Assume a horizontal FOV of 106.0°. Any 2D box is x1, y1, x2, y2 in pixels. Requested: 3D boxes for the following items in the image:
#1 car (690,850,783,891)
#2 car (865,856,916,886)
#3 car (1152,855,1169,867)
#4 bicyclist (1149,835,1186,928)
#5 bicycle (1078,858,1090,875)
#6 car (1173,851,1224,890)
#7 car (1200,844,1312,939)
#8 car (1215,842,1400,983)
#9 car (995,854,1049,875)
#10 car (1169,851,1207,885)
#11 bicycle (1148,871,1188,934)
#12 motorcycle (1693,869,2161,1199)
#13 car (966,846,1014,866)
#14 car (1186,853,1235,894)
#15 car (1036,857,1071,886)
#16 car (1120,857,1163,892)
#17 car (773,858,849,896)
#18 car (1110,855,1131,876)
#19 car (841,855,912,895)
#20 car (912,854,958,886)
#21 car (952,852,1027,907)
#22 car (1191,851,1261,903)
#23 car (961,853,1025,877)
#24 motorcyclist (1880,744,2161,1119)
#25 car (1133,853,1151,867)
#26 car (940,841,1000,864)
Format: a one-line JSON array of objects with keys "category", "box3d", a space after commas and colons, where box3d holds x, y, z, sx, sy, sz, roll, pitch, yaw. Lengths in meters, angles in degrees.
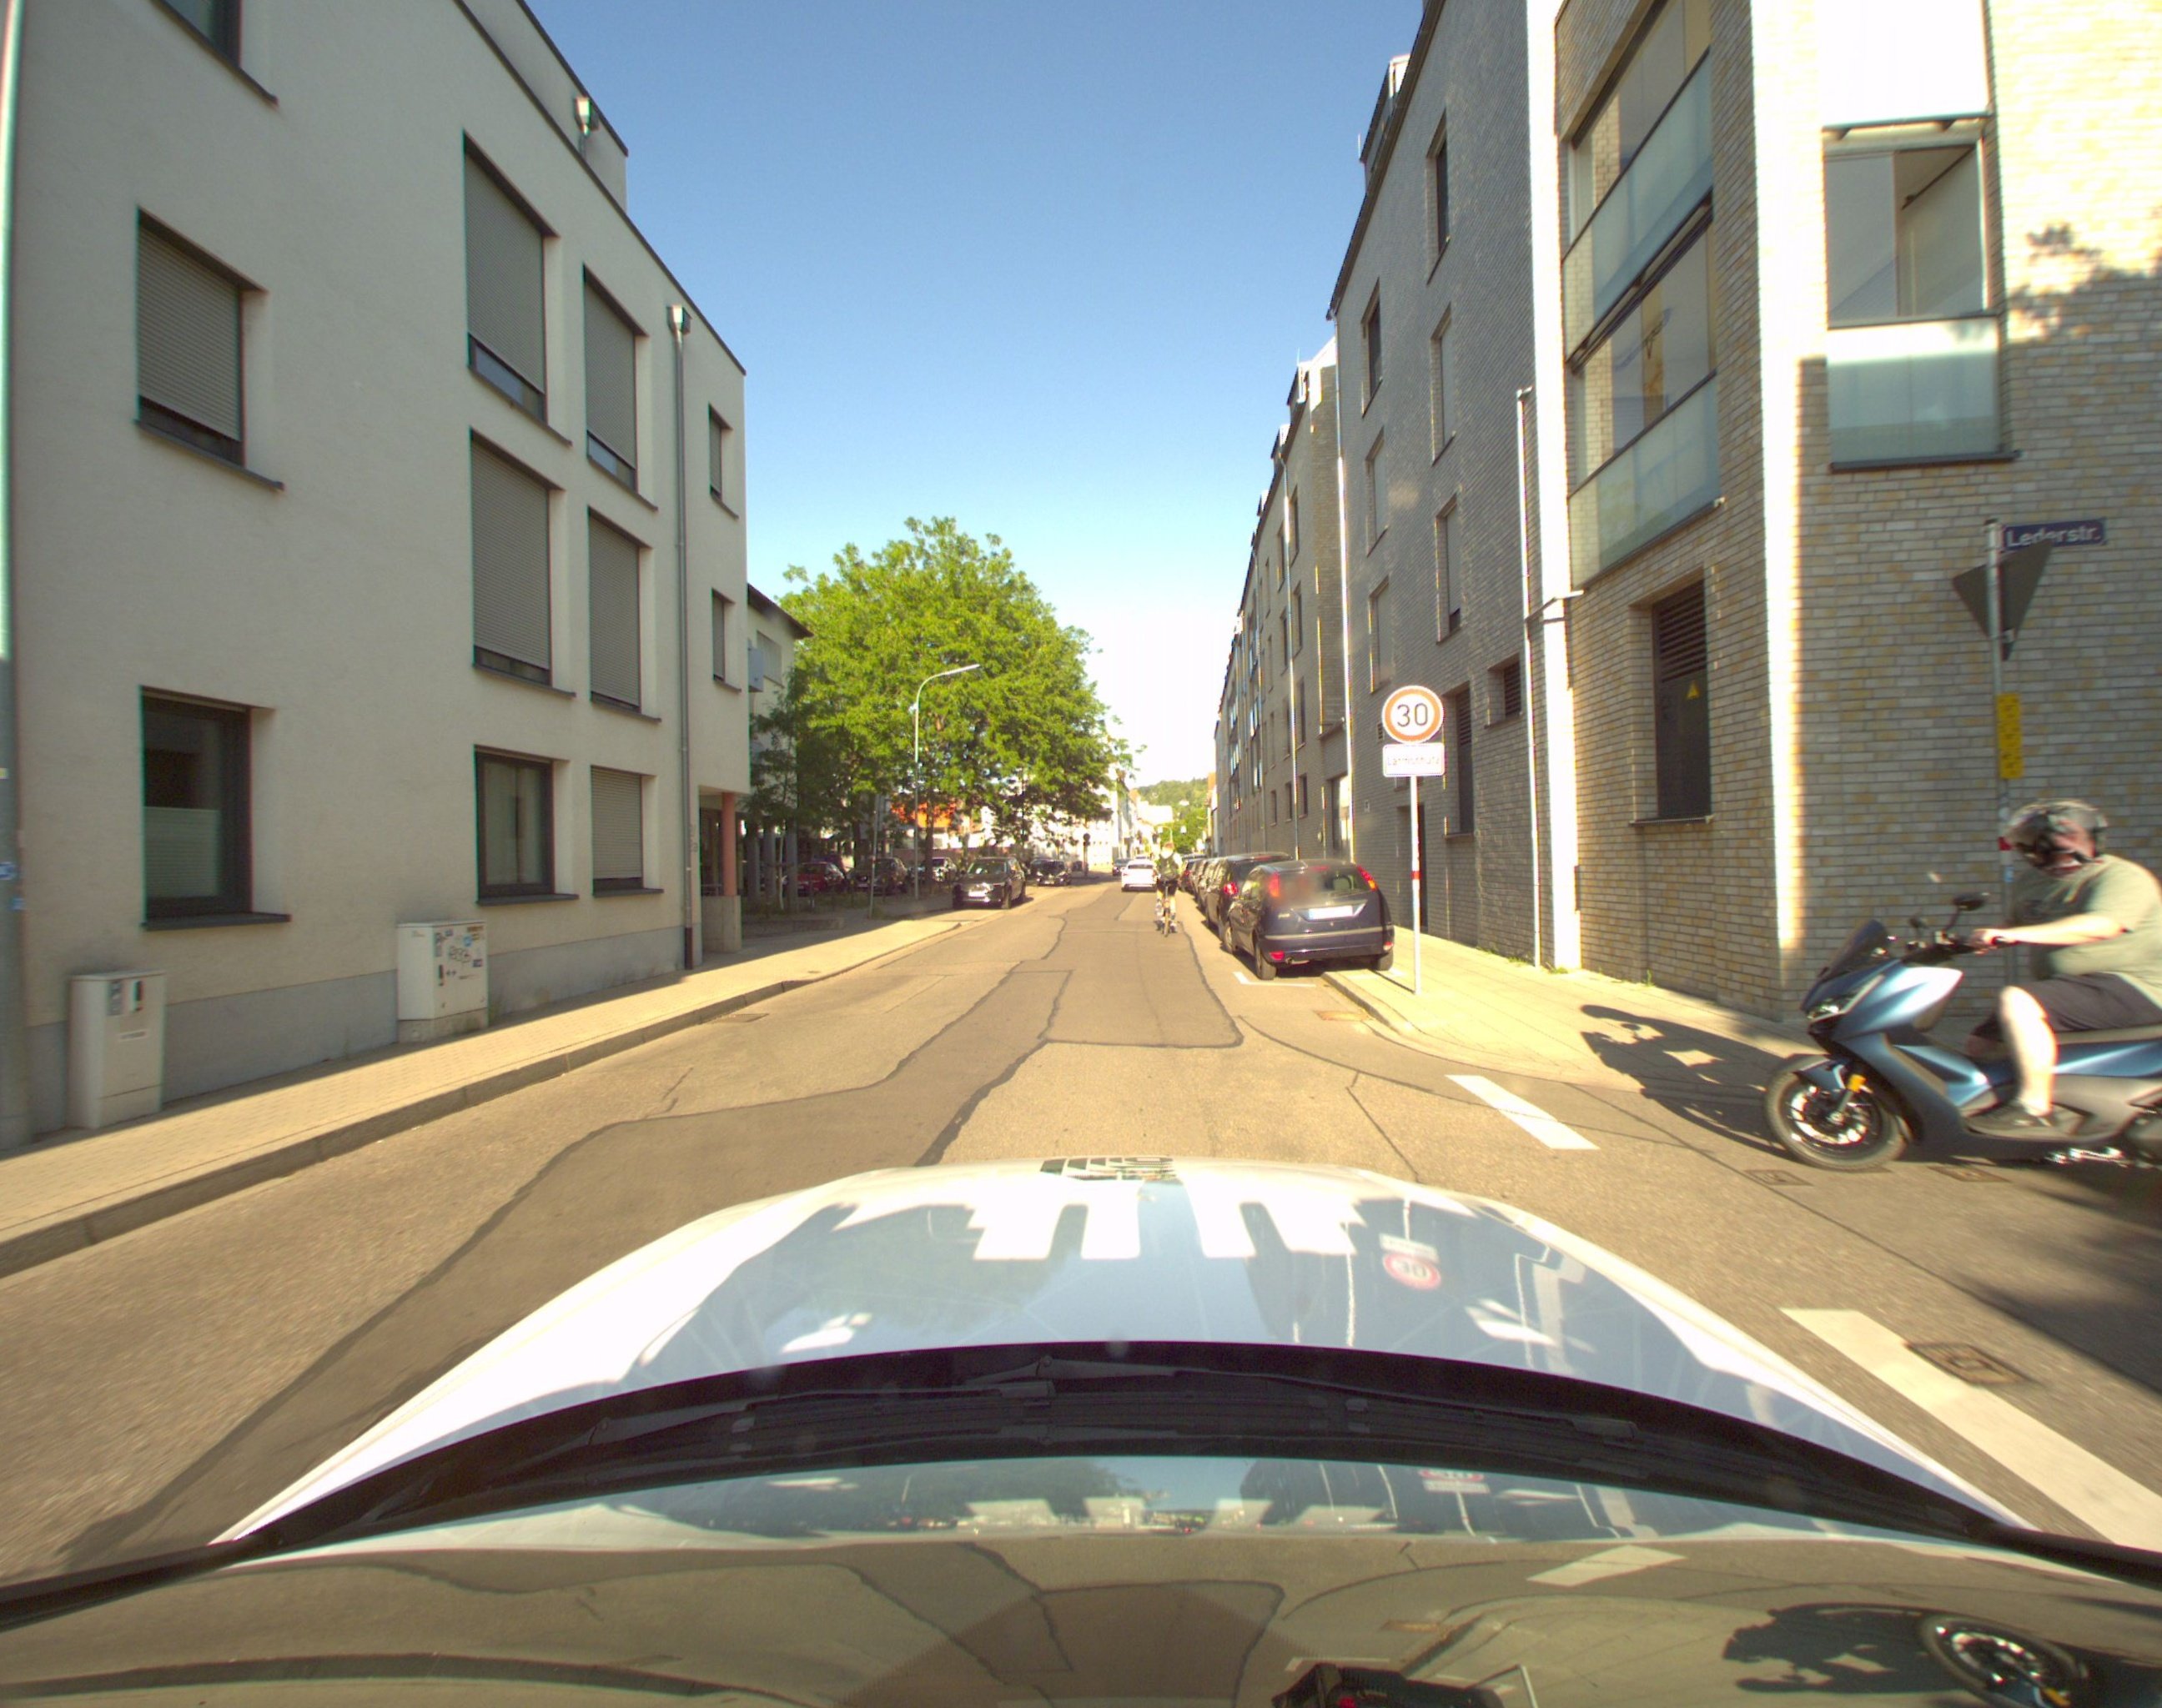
[{"category": "car", "box3d": [-14.507, 0.657, 34.603, 1.851, 1.587, 4.623, 1, 0, 1]}, {"category": "car", "box3d": [-10.835, 0.934, 46.596, 1.850, 1.587, 3.674, 1, 0, 2]}, {"category": "car", "box3d": [10.894, 0.935, 111.459, 1.934, 1.587, 4.632, -4, -1, 8]}, {"category": "bicyclist", "box3d": [1.707, 0.541, 16.204, 0.695, 1.790, 1.042, -1, -1, 4]}, {"category": "bicycle", "box3d": [0.234, 0.951, 62.675, 0.832, 1.217, 2.844, -1, 0, 3]}, {"category": "car", "box3d": [5.366, 0.736, 37.557, 1.850, 1.587, 4.625, -4, -1, 3]}, {"category": "car", "box3d": [3.422, 0.674, 16.589, 1.657, 1.702, 3.917, -1, 0, 3]}, {"category": "car", "box3d": [3.049, 0.716, 11.810, 1.623, 1.587, 4.072, -4, -1, 3]}, {"category": "car", "box3d": [-4.462, 0.780, 61.949, 3.882, 1.575, 1.712, -1, 0, 5]}, {"category": "car", "box3d": [6.069, 0.772, 46.574, 1.849, 1.702, 4.628, -4, -1, 5]}, {"category": "bicycle", "box3d": [1.716, 0.931, 16.330, 0.695, 1.130, 2.405, -1, -1, 4]}, {"category": "motorcycle", "box3d": [4.320, 0.734, 3.720, 2.312, 1.281, 0.901, -3, -2, 32]}, {"category": "car", "box3d": [-7.623, 0.159, 68.576, 3.894, 1.575, 1.707, -1, 0, -5]}, {"category": "car", "box3d": [5.123, 0.747, 32.606, 1.501, 1.444, 3.533, -4, -1, 3]}, {"category": "car", "box3d": [-1.557, 0.977, 47.729, 1.697, 1.575, 3.917, -1, 0, 3]}, {"category": "car", "box3d": [2.702, 0.900, 37.178, 1.835, 1.491, 4.146, -1, -1, 2]}, {"category": "car", "box3d": [-11.410, 0.944, 34.713, 1.712, 1.448, 4.145, 1, 0, 1]}, {"category": "car", "box3d": [3.230, 0.925, 66.695, 1.657, 1.575, 3.917, -1, 0, 3]}, {"category": "car", "box3d": [-8.798, 0.852, 35.385, 1.851, 1.587, 4.621, 1, 0, 0]}, {"category": "car", "box3d": [-8.326, 0.896, 46.679, 1.783, 1.689, 3.966, 1, 0, 2]}, {"category": "car", "box3d": [-3.188, 0.844, 29.297, 1.844, 1.791, 4.613, -1, 0, 4]}, {"category": "car", "box3d": [4.721, 0.712, 27.170, 1.849, 1.587, 4.627, -1, 0, 5]}, {"category": "car", "box3d": [-5.914, 0.733, 54.921, 3.876, 1.575, 1.715, -1, 0, 11]}, {"category": "motorcyclist", "box3d": [4.351, 0.308, 3.672, 0.868, 1.473, 0.901, -1, -1, 32]}, {"category": "car", "box3d": [7.793, 0.741, 103.519, 1.935, 1.587, 4.630, -4, -1, 6]}, {"category": "car", "box3d": [-7.891, -0.104, 57.871, 3.879, 1.575, 1.714, -1, 0, 8]}]
